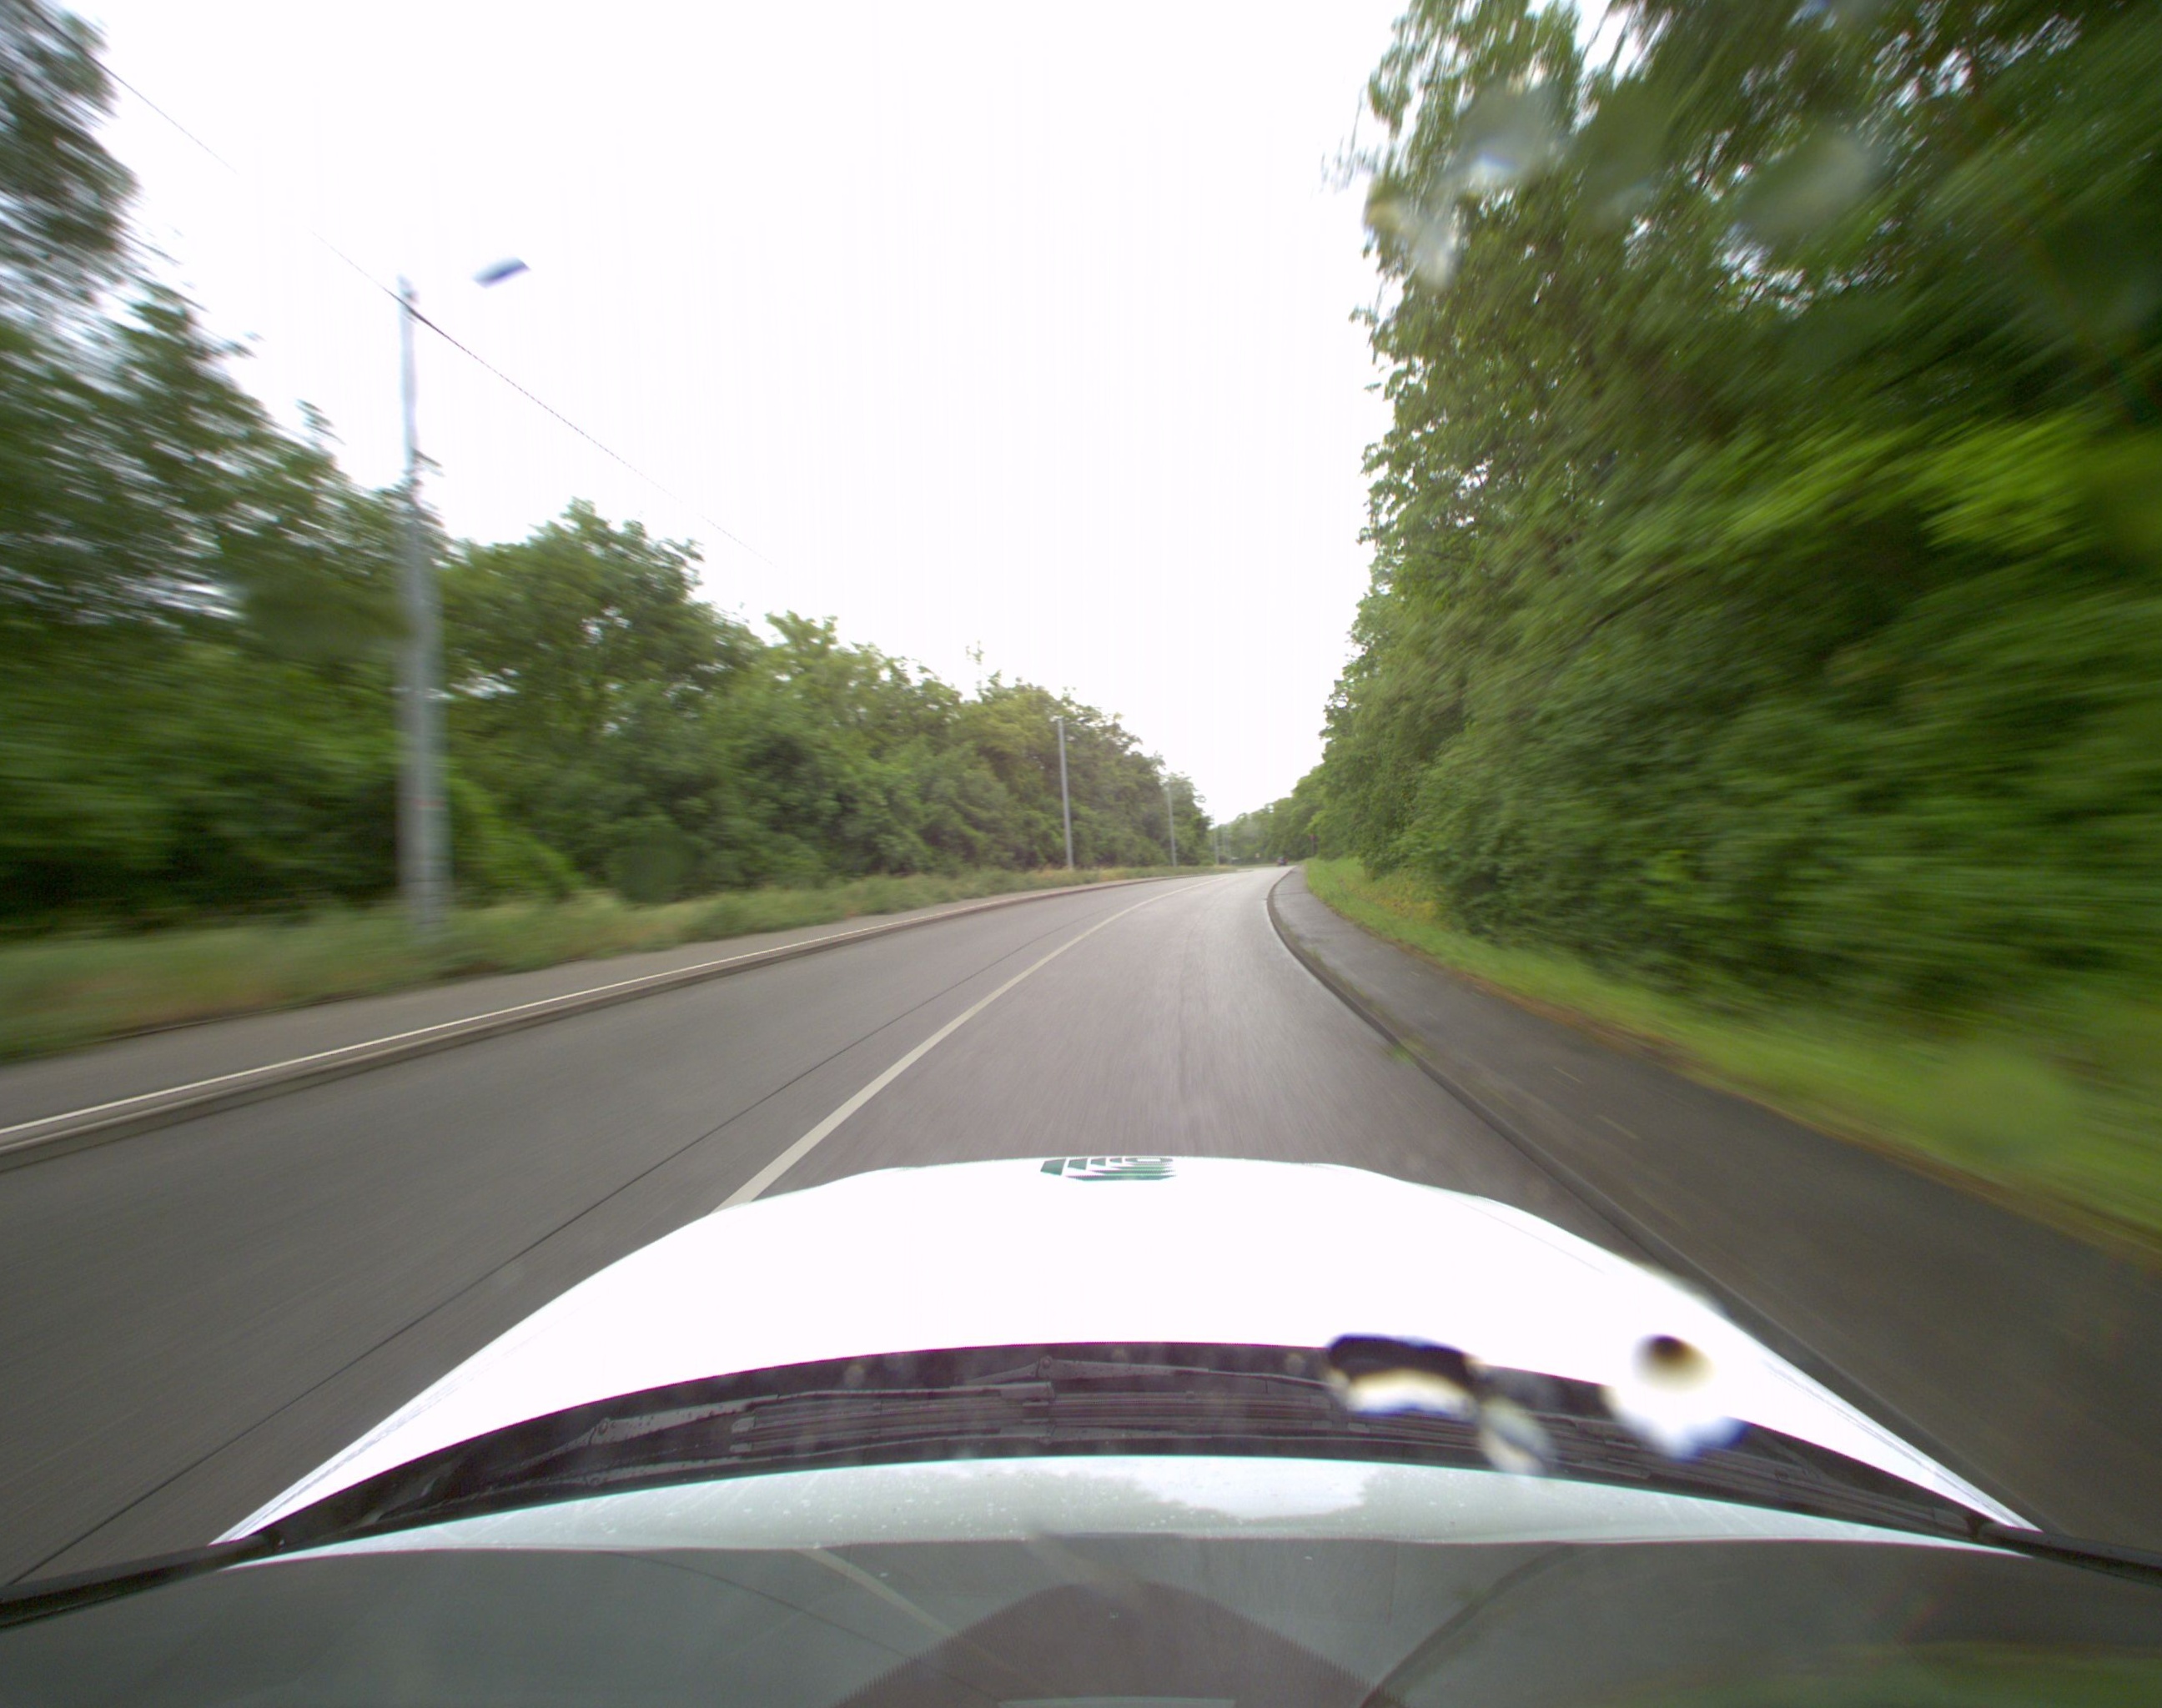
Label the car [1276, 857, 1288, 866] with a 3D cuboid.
[{"bbox_3d":[38.523,1.386,155.945,1.857,1.596,4.009,0,-1,9],"label":"car"}]
